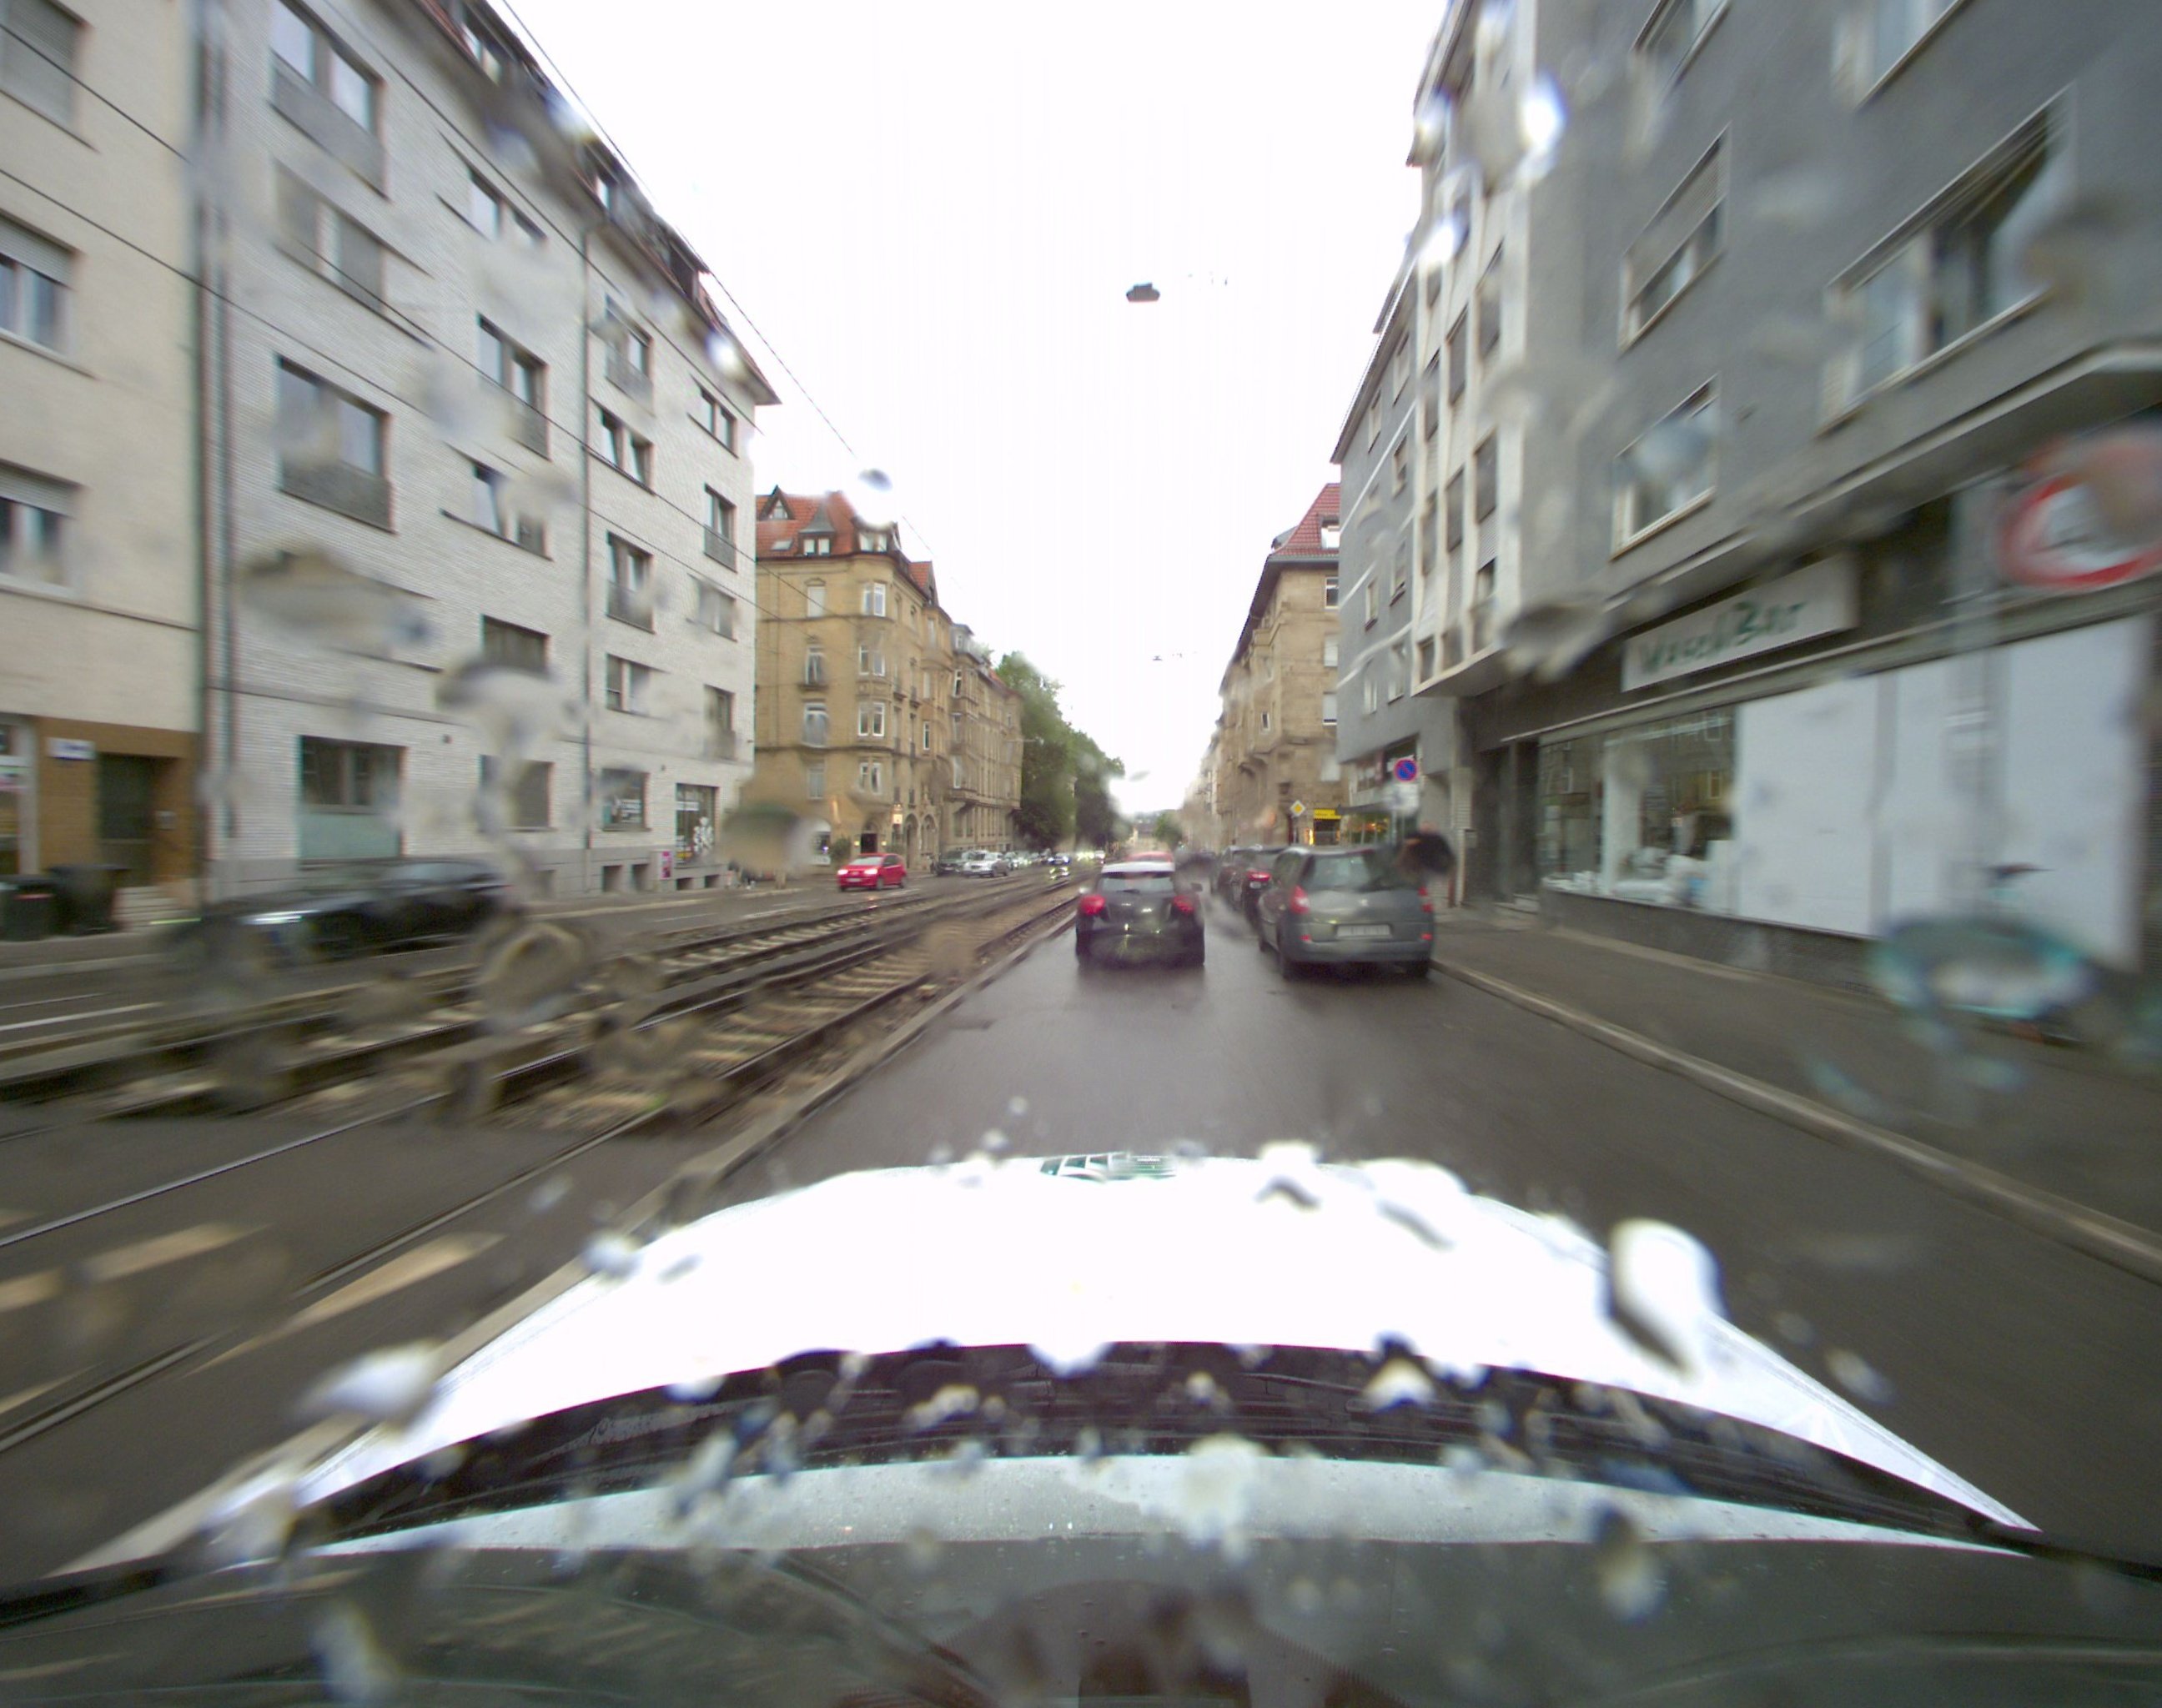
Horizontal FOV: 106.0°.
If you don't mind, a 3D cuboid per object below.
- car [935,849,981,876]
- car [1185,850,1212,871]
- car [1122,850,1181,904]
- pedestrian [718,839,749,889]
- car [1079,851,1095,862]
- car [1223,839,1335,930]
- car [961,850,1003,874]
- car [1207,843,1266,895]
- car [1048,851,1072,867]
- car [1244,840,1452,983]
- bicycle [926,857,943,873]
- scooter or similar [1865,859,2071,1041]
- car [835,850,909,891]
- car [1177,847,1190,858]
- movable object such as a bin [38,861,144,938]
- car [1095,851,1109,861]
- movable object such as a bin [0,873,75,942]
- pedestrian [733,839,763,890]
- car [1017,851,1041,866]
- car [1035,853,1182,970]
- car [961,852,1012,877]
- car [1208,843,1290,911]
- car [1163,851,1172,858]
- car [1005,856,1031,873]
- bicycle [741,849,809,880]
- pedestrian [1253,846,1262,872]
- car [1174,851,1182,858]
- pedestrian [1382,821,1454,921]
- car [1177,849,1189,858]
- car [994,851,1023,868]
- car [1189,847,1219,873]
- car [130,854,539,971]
[{"bbox_3d":[-7.556,0.490,50.310,1.713,1.541,3.942,-1,0,8],"label":"car"},{"bbox_3d":[7.849,0.403,54.561,1.605,1.317,4.007,-1,0,6],"label":"car"},{"bbox_3d":[2.144,0.627,24.520,1.641,1.452,4.006,0,1,6],"label":"car"},{"bbox_3d":[-12.656,0.374,29.703,0.637,1.787,0.925,-2,-2,5],"label":"pedestrian"},{"bbox_3d":[0.750,0.299,101.796,1.560,1.413,3.489,-1,0,8],"label":"car"},{"bbox_3d":[4.031,0.552,17.181,1.675,1.670,4.128,-1,0,5],"label":"car"},{"bbox_3d":[-6.921,0.517,57.392,1.796,1.597,4.535,-1,0,8],"label":"car"},{"bbox_3d":[5.151,0.462,27.416,1.605,1.605,4.007,-1,0,6],"label":"car"},{"bbox_3d":[-1.927,0.437,75.672,1.686,1.388,3.489,-1,0,8],"label":"car"},{"bbox_3d":[3.388,0.625,11.282,1.756,1.559,4.754,-1,0,6],"label":"car"},{"bbox_3d":[-9.320,0.680,51.826,0.596,1.000,2.080,-1,0,2],"label":"bicycle"},{"bbox_3d":[6.573,0.658,6.103,0.393,1.216,1.108,0,0,4],"label":"scooter or similar"},{"bbox_3d":[-8.247,0.623,32.432,1.672,1.497,3.525,-1,0,7],"label":"car"},{"bbox_3d":[13.222,-0.220,105.258,1.605,1.317,4.007,-1,0,6],"label":"car"},{"bbox_3d":[-14.952,0.675,12.316,0.709,1.074,0.688,3,0,5],"label":"movable object such as a bin"},{"bbox_3d":[3.055,0.233,118.171,1.560,1.413,3.489,-1,0,8],"label":"car"},{"bbox_3d":[-15.083,0.759,11.681,0.591,0.911,0.561,3,0,5],"label":"movable object such as a bin"},{"bbox_3d":[-12.043,0.380,29.494,0.626,1.787,0.883,-2,-2,5],"label":"pedestrian"},{"bbox_3d":[-4.894,0.416,76.496,1.560,1.413,3.489,-1,0,8],"label":"car"},{"bbox_3d":[0.595,0.738,12.607,1.856,1.452,4.009,1,1,8],"label":"car"},{"bbox_3d":[-5.404,0.562,47.167,1.796,1.360,4.774,-1,0,8],"label":"car"},{"bbox_3d":[4.557,0.552,22.667,1.741,1.670,4.711,-1,0,6],"label":"car"},{"bbox_3d":[15.907,0.089,150.241,1.605,1.317,4.007,-1,0,6],"label":"car"},{"bbox_3d":[-5.449,0.914,70.651,1.560,1.413,3.489,-1,0,8],"label":"car"},{"bbox_3d":[-16.797,0.553,44.780,3.142,1.584,1.595,-1,0,-6],"label":"bicycle"},{"bbox_3d":[10.025,0.259,46.251,0.452,1.467,0.611,0,0,6],"label":"pedestrian"},{"bbox_3d":[19.366,0.094,162.369,1.605,1.317,4.007,1,0,6],"label":"car"},{"bbox_3d":[6.168,0.298,14.946,0.941,1.769,1.016,0,0,4],"label":"pedestrian"},{"bbox_3d":[14.565,-0.099,116.526,1.605,1.317,4.007,-1,0,6],"label":"car"},{"bbox_3d":[-5.881,0.423,66.059,1.560,1.316,3.489,-1,0,8],"label":"car"},{"bbox_3d":[7.429,0.353,49.307,1.613,1.485,4.007,-1,0,6],"label":"car"},{"bbox_3d":[-10.754,0.732,12.294,1.938,1.396,4.282,-2,0,6],"label":"car"}]
